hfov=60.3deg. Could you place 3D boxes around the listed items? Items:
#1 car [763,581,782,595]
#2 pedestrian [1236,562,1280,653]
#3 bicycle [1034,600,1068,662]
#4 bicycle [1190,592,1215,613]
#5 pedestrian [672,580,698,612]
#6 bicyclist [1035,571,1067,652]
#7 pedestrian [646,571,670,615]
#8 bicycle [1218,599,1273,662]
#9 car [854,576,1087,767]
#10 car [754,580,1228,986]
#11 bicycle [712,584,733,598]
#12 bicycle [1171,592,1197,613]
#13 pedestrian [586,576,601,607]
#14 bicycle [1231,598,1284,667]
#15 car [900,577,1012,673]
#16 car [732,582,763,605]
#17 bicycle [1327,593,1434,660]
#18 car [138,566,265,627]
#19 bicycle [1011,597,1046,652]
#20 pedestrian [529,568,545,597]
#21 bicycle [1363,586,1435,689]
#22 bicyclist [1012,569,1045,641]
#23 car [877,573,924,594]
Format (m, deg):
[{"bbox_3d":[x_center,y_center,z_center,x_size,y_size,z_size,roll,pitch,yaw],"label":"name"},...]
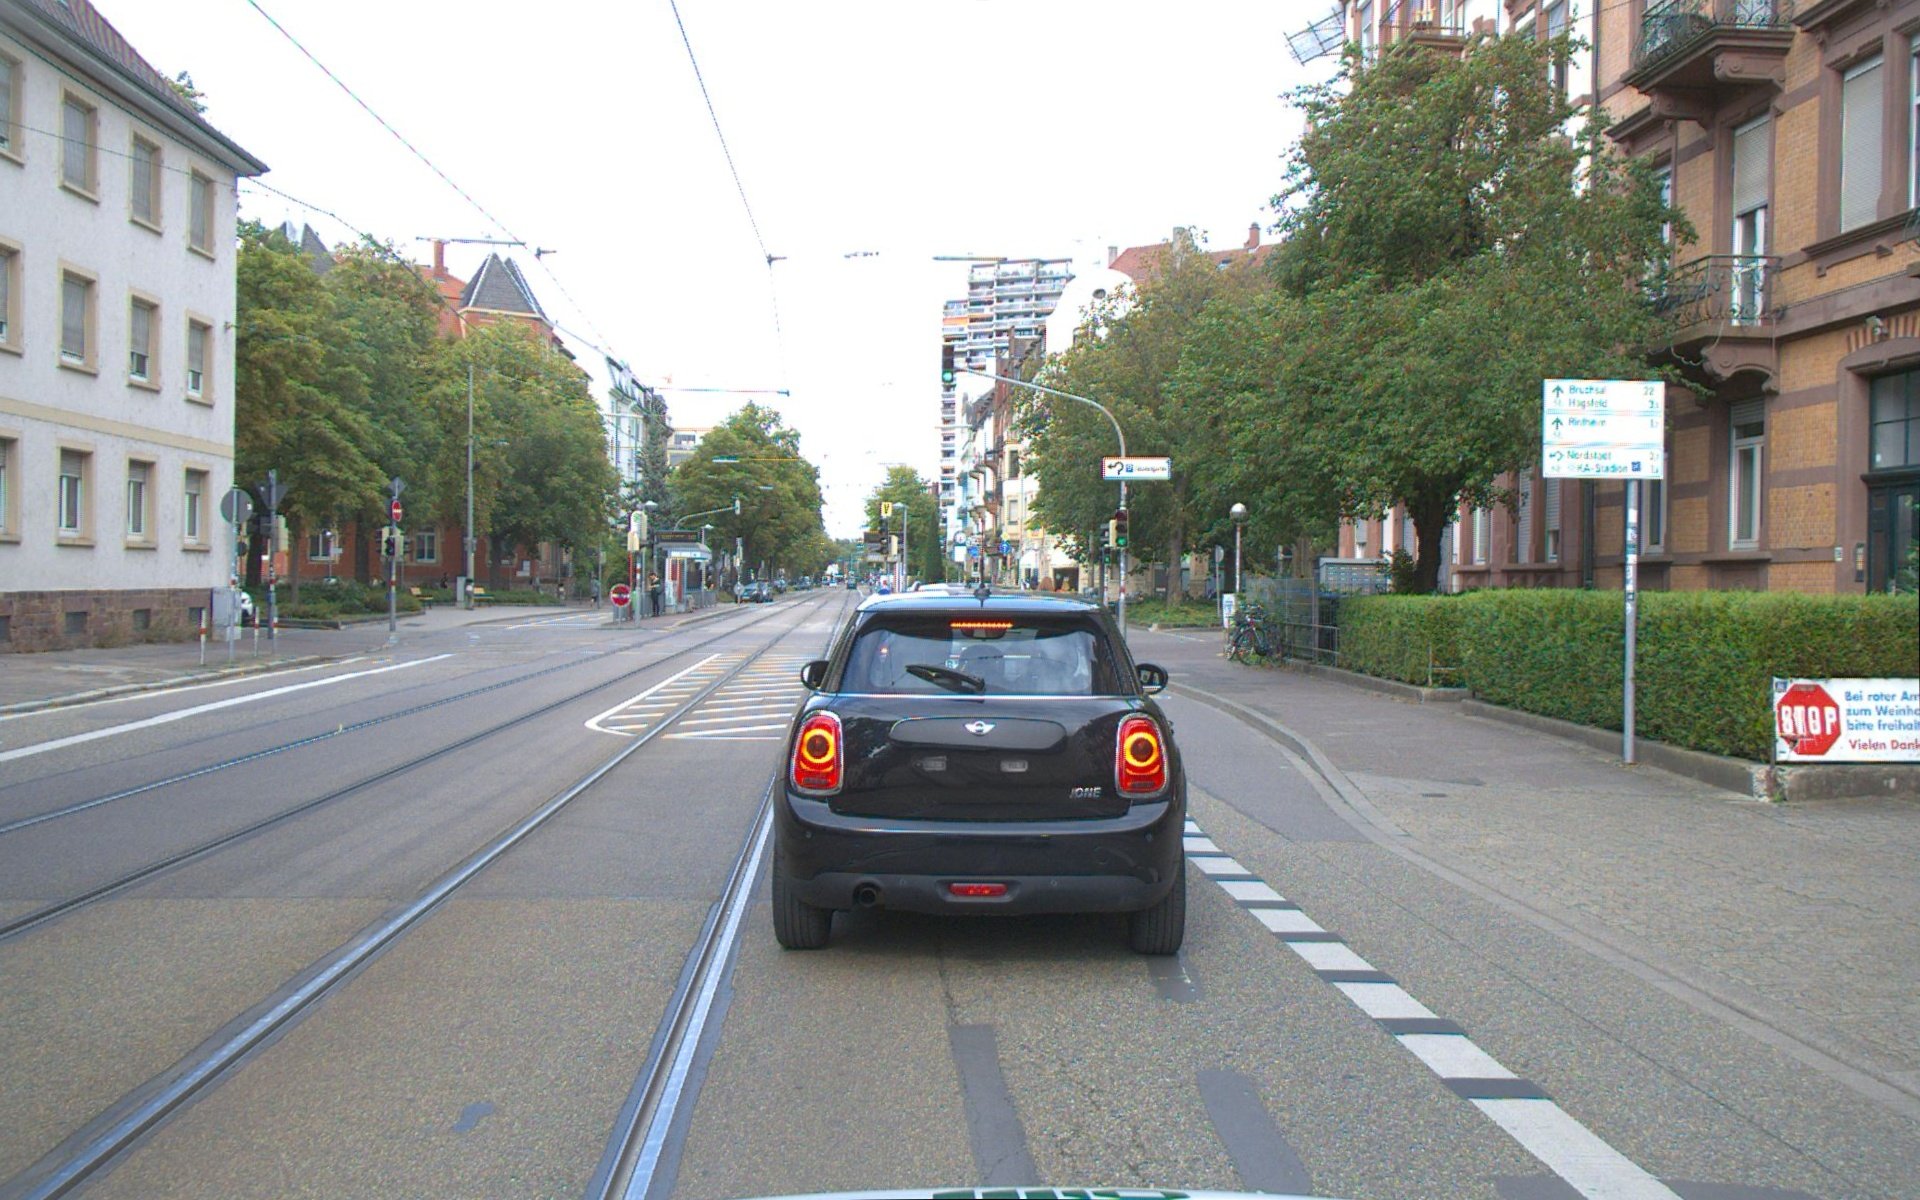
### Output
[{"bbox_3d":[-22.825,-1.477,201.442,1.954,1.579,3.998,1,1,-3],"label":"car"},{"bbox_3d":[5.933,0.142,32.971,0.715,1.784,0.950,0,0,1],"label":"pedestrian"},{"bbox_3d":[1.815,0.602,33.119,0.586,1.190,1.697,0,1,1],"label":"bicycle"},{"bbox_3d":[13.433,0.147,91.664,0.522,1.147,1.885,1,0,38],"label":"bicycle"},{"bbox_3d":[-11.604,-0.176,69.830,1.039,1.316,0.984,1,0,-9],"label":"pedestrian"},{"bbox_3d":[1.820,0.220,33.108,0.582,1.577,1.014,0,1,0],"label":"bicyclist"},{"bbox_3d":[-11.295,-0.262,61.862,0.836,1.649,0.841,1,0,-9],"label":"pedestrian"},{"bbox_3d":[5.333,0.551,30.992,0.657,1.125,1.671,0,1,-3],"label":"bicycle"},{"bbox_3d":[0.077,0.565,15.488,1.887,1.536,4.000,1,0,0],"label":"car"},{"bbox_3d":[0.117,0.649,8.040,1.716,1.466,4.000,1,1,0],"label":"car"},{"bbox_3d":[-19.027,-0.715,132.416,1.658,1.138,0.564,0,1,-43],"label":"bicycle"},{"bbox_3d":[12.521,0.130,92.339,0.522,1.147,1.885,1,0,38],"label":"bicycle"},{"bbox_3d":[-20.499,-0.479,92.554,0.680,1.749,0.758,0,0,-2],"label":"pedestrian"},{"bbox_3d":[5.076,0.534,28.249,0.498,1.107,1.549,-3,1,-3],"label":"bicycle"},{"bbox_3d":[-0.105,0.362,27.783,1.716,1.466,4.478,1,1,-1],"label":"car"},{"bbox_3d":[-14.584,-0.463,113.605,1.716,1.466,3.999,2,0,-2],"label":"car"},{"bbox_3d":[6.520,0.411,25.657,1.515,1.026,0.510,0,1,-5],"label":"bicycle"},{"bbox_3d":[-23.360,-0.075,50.911,4.076,1.751,1.833,-2,-2,37],"label":"car"},{"bbox_3d":[1.523,0.538,37.121,0.670,1.190,1.696,0,1,-1],"label":"bicycle"},{"bbox_3d":[-25.199,-1.038,98.550,0.817,1.732,0.731,0,0,-9],"label":"pedestrian"},{"bbox_3d":[5.817,0.478,21.960,0.505,1.304,1.550,0,1,-1],"label":"bicycle"},{"bbox_3d":[1.530,0.112,37.062,0.670,1.591,0.998,0,1,-2],"label":"bicyclist"},{"bbox_3d":[-6.662,-1.825,185.055,5.001,2.312,2.358,0,1,-44],"label":"car"}]
